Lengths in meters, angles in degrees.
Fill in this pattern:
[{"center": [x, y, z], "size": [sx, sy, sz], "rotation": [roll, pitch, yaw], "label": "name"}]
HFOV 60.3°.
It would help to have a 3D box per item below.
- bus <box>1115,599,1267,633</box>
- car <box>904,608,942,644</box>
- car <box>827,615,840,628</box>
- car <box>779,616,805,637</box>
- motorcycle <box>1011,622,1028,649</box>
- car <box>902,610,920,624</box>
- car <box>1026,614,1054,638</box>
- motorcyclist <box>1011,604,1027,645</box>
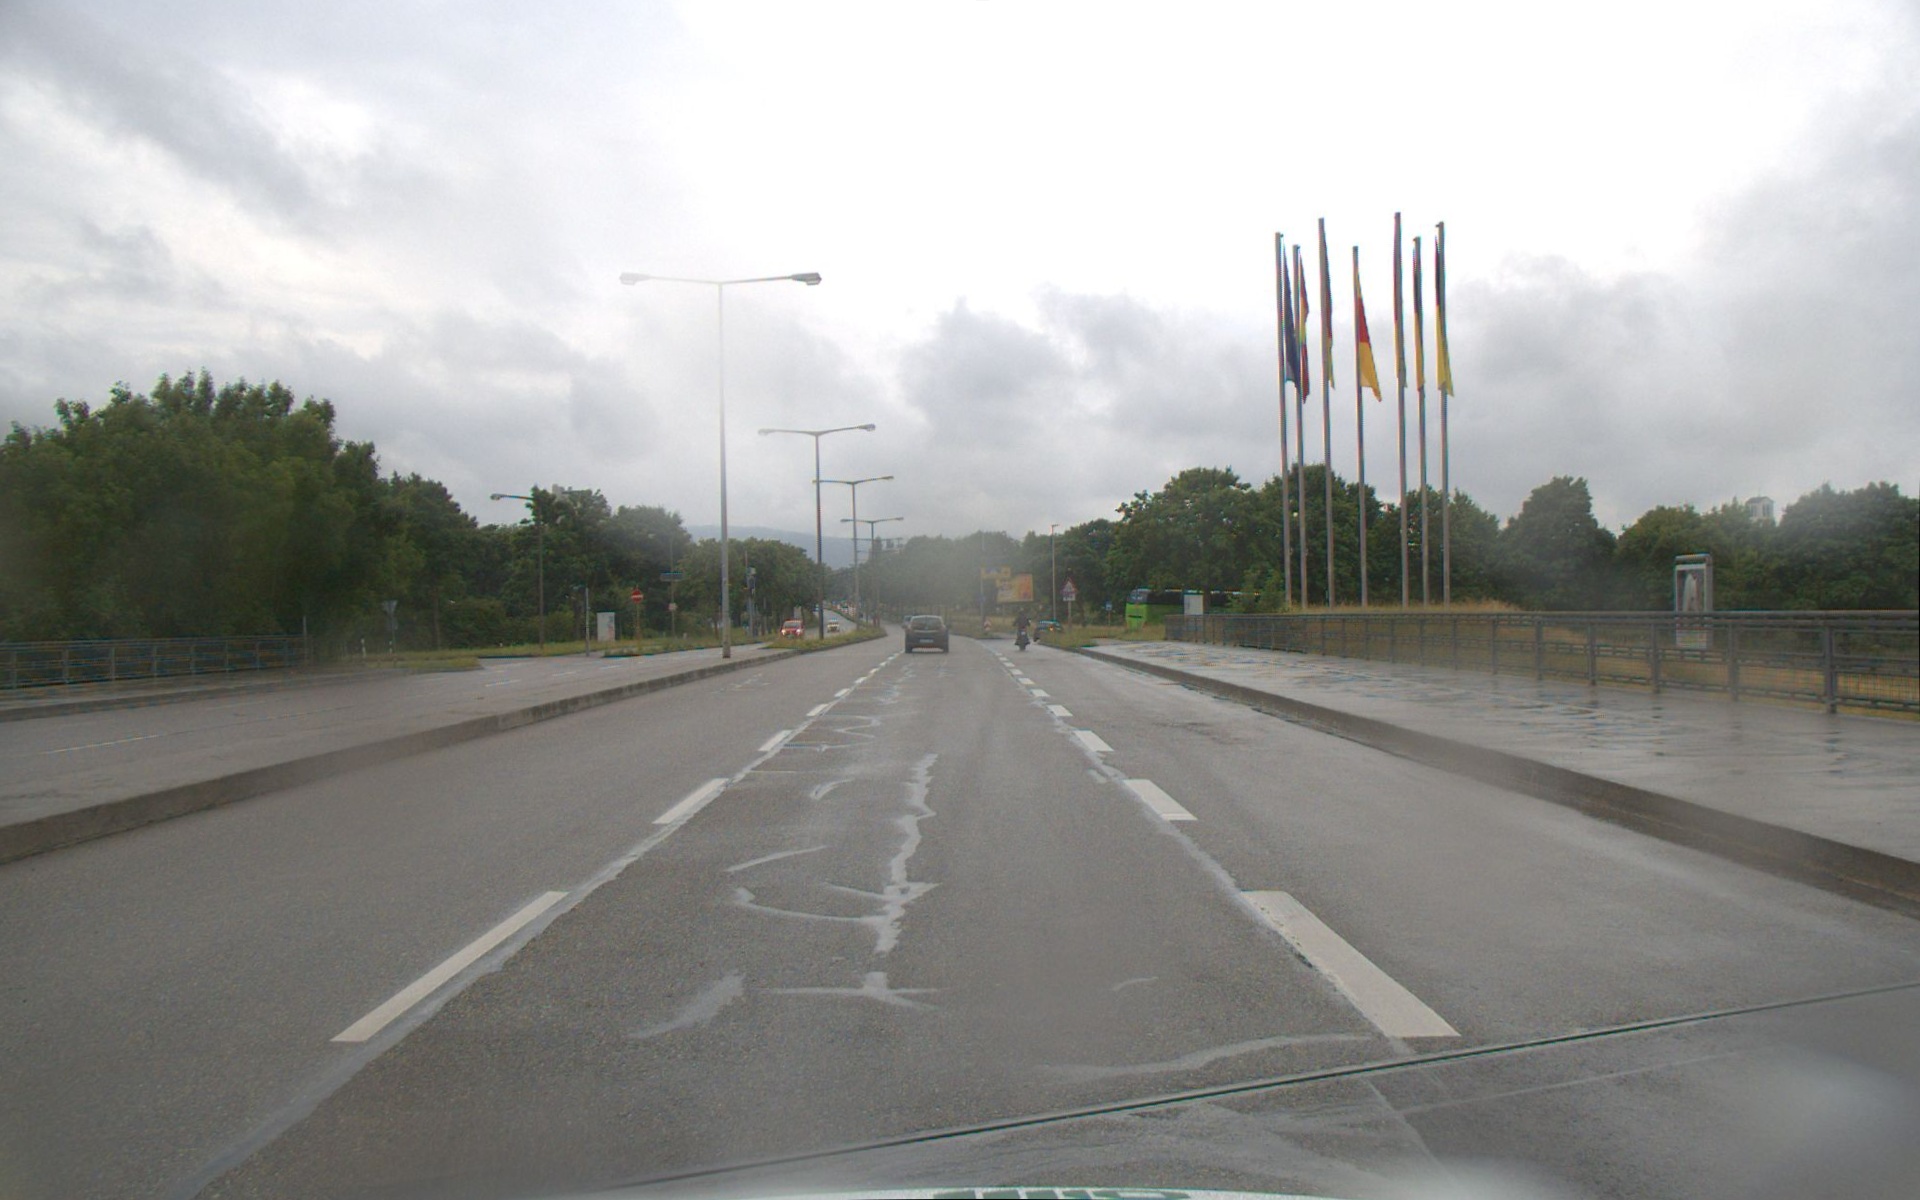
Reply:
[{"center": [19.025, 1.329, 135.171], "size": [14.425, 2.727, 2.728], "rotation": [1, -1, -36], "label": "bus"}, {"center": [-1.445, 0.990, 64.029], "size": [1.433, 1.352, 3.756], "rotation": [0, 0, -2], "label": "car"}, {"center": [-18.235, 3.079, 238.484], "size": [1.673, 1.658, 4.490], "rotation": [-3, -1, -2], "label": "car"}, {"center": [-12.531, 1.964, 123.483], "size": [1.627, 1.473, 3.556], "rotation": [-3, -1, -1], "label": "car"}, {"center": [2.520, 1.497, 70.304], "size": [0.589, 1.112, 1.731], "rotation": [0, 0, -2], "label": "motorcycle"}, {"center": [-7.563, 2.568, 255.266], "size": [2.467, 2.088, 5.287], "rotation": [-1, -1, -5], "label": "car"}, {"center": [5.736, 1.868, 119.325], "size": [1.817, 1.646, 3.999], "rotation": [0, -1, -1], "label": "car"}, {"center": [2.508, 1.033, 70.288], "size": [0.589, 1.720, 0.860], "rotation": [0, 0, -2], "label": "motorcyclist"}]
